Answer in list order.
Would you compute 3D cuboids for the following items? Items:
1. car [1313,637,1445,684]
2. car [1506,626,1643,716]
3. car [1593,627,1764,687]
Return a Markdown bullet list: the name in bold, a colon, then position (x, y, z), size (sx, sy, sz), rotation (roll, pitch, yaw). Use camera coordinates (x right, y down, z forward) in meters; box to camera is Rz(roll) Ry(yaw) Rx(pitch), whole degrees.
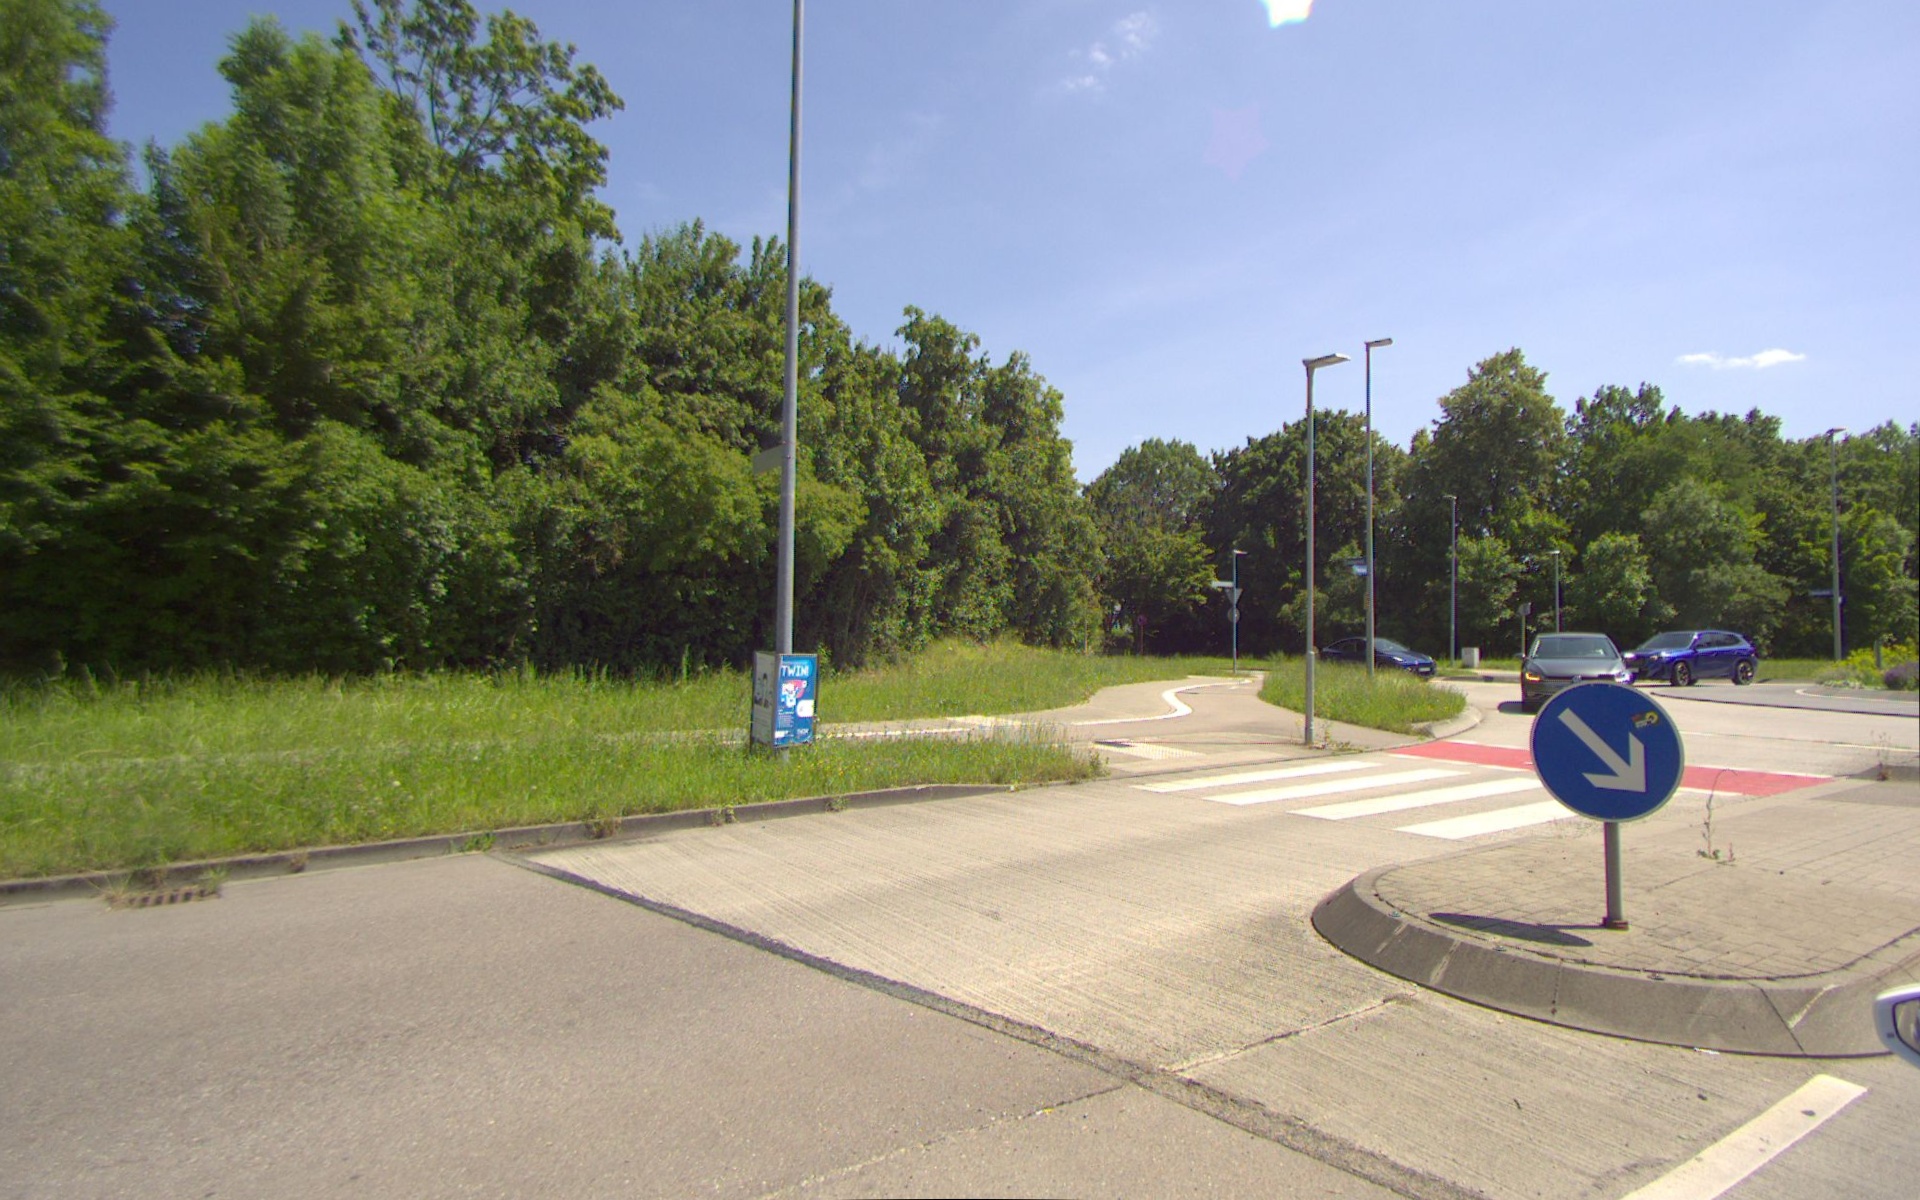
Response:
- **car**: position (15.285, 2.193, 36.907), size (1.930, 1.514, 4.540), rotation (2, -1, -20)
- **car**: position (11.760, 1.302, 19.144), size (1.967, 1.498, 4.277), rotation (-3, -3, 34)
- **car**: position (21.403, 1.663, 29.950), size (4.254, 1.617, 1.992), rotation (-1, -2, -19)
